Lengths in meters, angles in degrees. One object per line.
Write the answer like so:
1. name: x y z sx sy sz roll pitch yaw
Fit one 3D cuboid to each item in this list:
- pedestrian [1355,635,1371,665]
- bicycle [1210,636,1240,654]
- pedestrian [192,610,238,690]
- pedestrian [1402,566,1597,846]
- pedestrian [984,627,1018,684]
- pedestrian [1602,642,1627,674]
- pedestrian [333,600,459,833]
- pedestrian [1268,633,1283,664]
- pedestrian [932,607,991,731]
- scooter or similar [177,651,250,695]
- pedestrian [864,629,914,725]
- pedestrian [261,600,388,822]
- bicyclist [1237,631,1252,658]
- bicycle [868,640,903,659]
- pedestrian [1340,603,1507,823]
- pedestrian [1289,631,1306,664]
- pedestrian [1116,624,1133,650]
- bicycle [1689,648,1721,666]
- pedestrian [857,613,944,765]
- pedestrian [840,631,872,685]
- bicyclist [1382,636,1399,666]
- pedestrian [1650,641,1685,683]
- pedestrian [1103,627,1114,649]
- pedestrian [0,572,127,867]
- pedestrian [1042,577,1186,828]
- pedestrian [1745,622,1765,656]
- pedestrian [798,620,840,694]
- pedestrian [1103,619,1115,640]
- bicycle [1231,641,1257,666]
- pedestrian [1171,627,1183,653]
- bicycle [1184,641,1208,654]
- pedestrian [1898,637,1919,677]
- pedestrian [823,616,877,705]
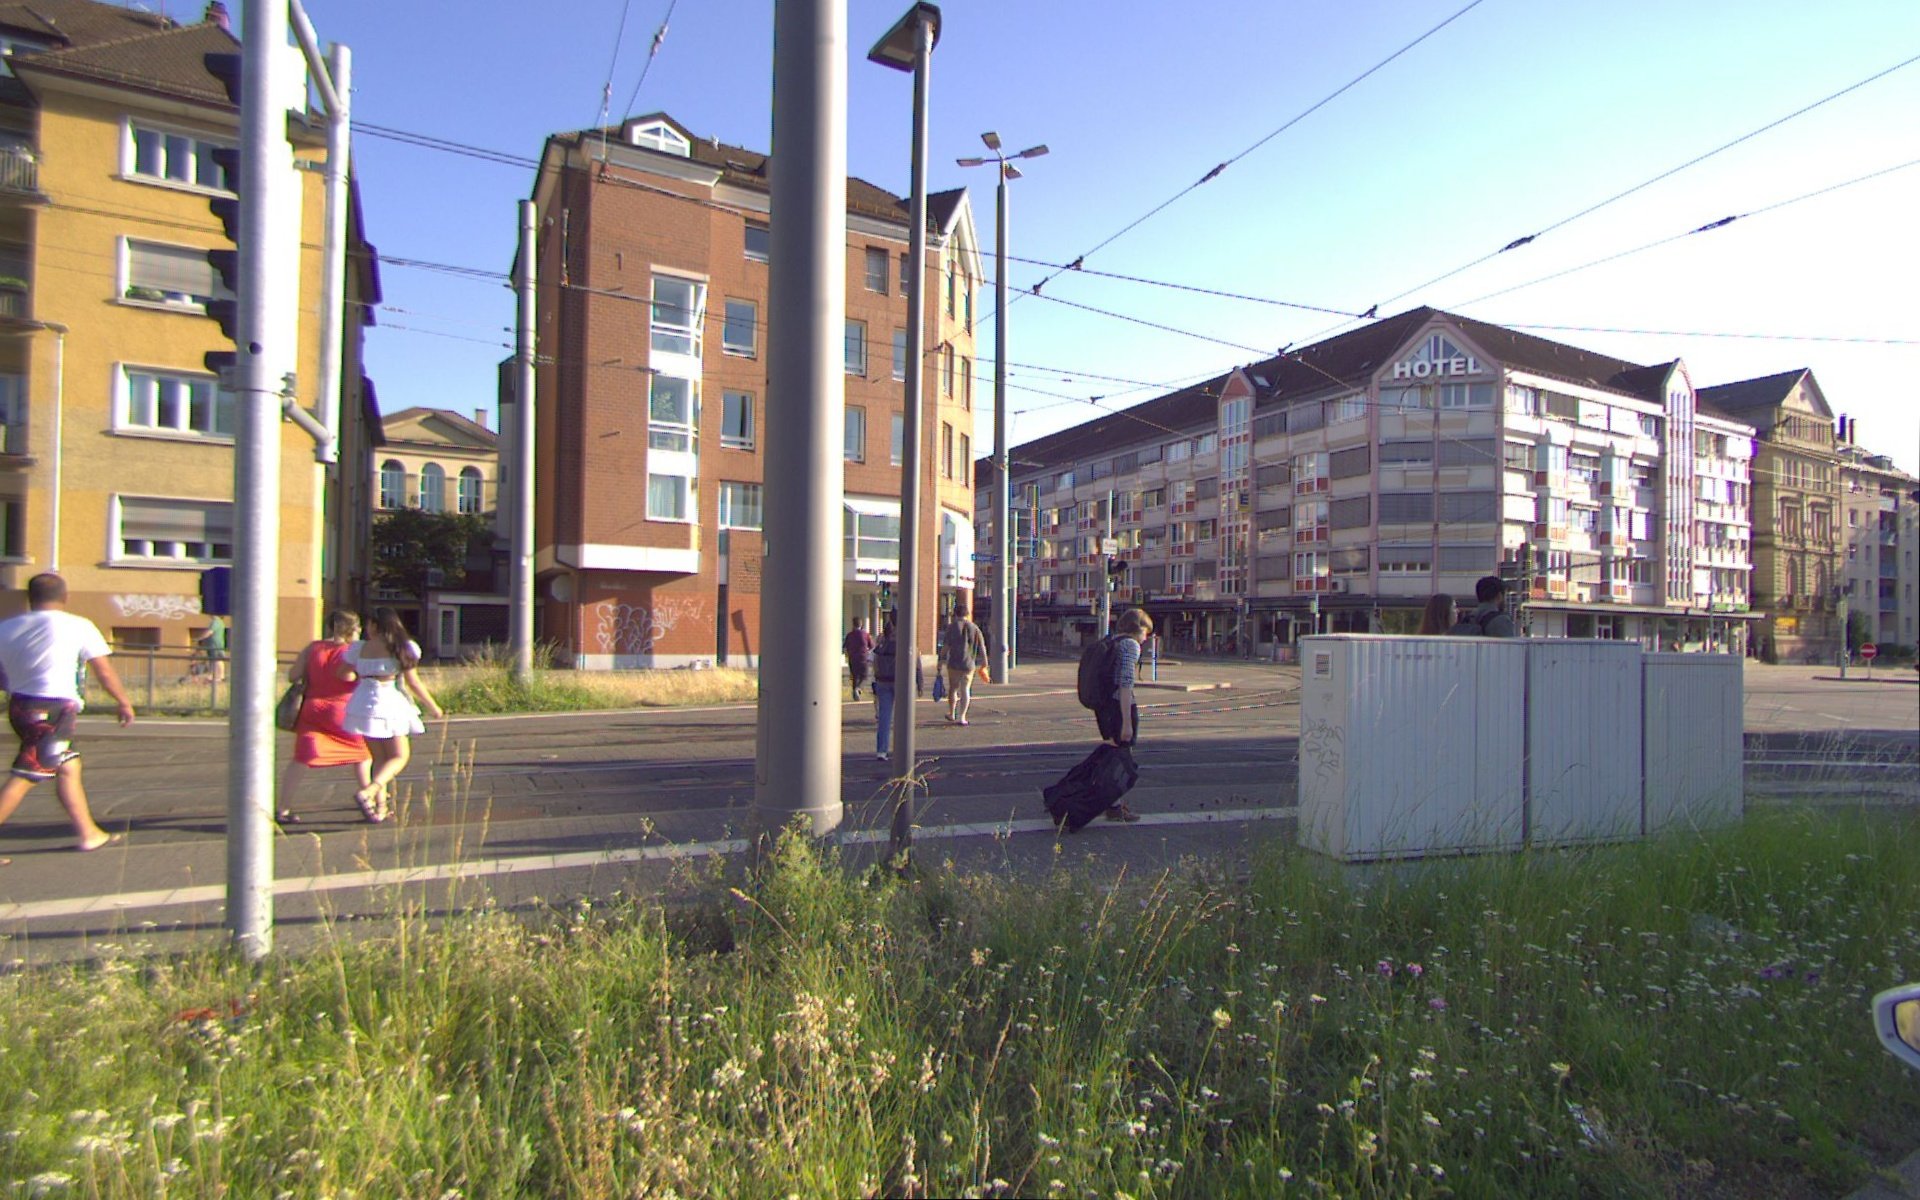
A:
1. pedestrian: 22.845 2.834 56.990 0.705 1.684 0.631 -1 -2 37
2. bicycle: 18.316 3.106 69.489 0.720 1.243 2.319 2 -2 -24
3. pedestrian: -17.858 1.196 24.084 0.713 1.872 0.559 2 0 -23
4. pedestrian: 3.847 0.702 7.209 0.884 1.825 0.786 -4 3 -12
5. pedestrian: 1.338 1.803 32.769 0.824 1.781 0.687 2 0 -44
6. pedestrian: 31.125 2.743 47.783 0.847 1.472 0.700 2 0 -34
7. pedestrian: -3.824 0.750 6.814 0.629 1.475 0.522 2 0 40
8. pedestrian: 18.121 2.766 57.630 0.612 1.717 0.866 2 0 29
9. pedestrian: 0.014 1.014 15.094 0.761 1.781 0.899 2 0 -4
10. scooter or similar: -17.895 1.752 24.101 1.311 1.019 0.484 2 0 -23
11. pedestrian: -1.057 1.129 14.825 0.586 1.378 0.606 2 -3 -16
12. pedestrian: -4.450 0.741 7.037 0.628 1.451 0.523 2 0 37
13. bicyclist: 16.717 2.604 58.938 0.558 1.501 0.733 1 1 44
14. bicycle: -4.058 2.705 54.931 1.813 0.974 0.540 2 0 -27
15. pedestrian: 3.684 0.867 8.034 0.884 1.662 0.786 2 0 -11
16. pedestrian: 19.054 2.666 56.681 0.503 1.787 1.001 2 0 40
17. pedestrian: 10.928 2.443 66.755 0.773 1.682 0.677 2 0 -35
18. bicycle: 48.344 3.709 65.165 2.056 1.085 0.451 2 0 -13
19. pedestrian: -0.648 0.931 10.835 0.612 1.556 0.782 2 0 -29
20. pedestrian: -3.196 1.773 30.862 0.828 1.605 0.681 2 0 -16
21. bicyclist: 23.886 2.808 55.731 0.649 1.618 0.636 -1 1 -26
22. pedestrian: 34.051 2.968 48.355 0.847 1.909 1.187 -3 3 -34
23. pedestrian: 12.380 3.177 83.815 0.804 1.802 0.680 2 0 0
24. pedestrian: -5.236 0.644 5.762 0.614 1.569 0.779 2 -1 -37
25. pedestrian: 1.081 0.684 7.137 0.612 1.662 0.781 2 0 -32
26. pedestrian: 57.743 2.809 72.912 0.953 2.430 0.918 2 0 -40
27. pedestrian: -3.182 1.277 22.772 0.825 1.605 0.683 2 0 -3
28. pedestrian: 12.089 2.412 81.342 0.741 1.667 0.547 1 0 -20
29. bicycle: 16.685 3.134 58.928 0.576 1.385 2.083 1 1 43
30. pedestrian: 16.481 3.043 76.322 0.601 1.877 0.601 2 0 -20
31. bicycle: 16.948 3.401 72.173 0.494 0.929 2.066 2 -2 -24
32. pedestrian: 37.772 2.264 39.728 0.841 1.483 0.685 2 -5 32
33. pedestrian: -2.059 1.119 18.878 0.598 1.609 0.786 2 0 36
